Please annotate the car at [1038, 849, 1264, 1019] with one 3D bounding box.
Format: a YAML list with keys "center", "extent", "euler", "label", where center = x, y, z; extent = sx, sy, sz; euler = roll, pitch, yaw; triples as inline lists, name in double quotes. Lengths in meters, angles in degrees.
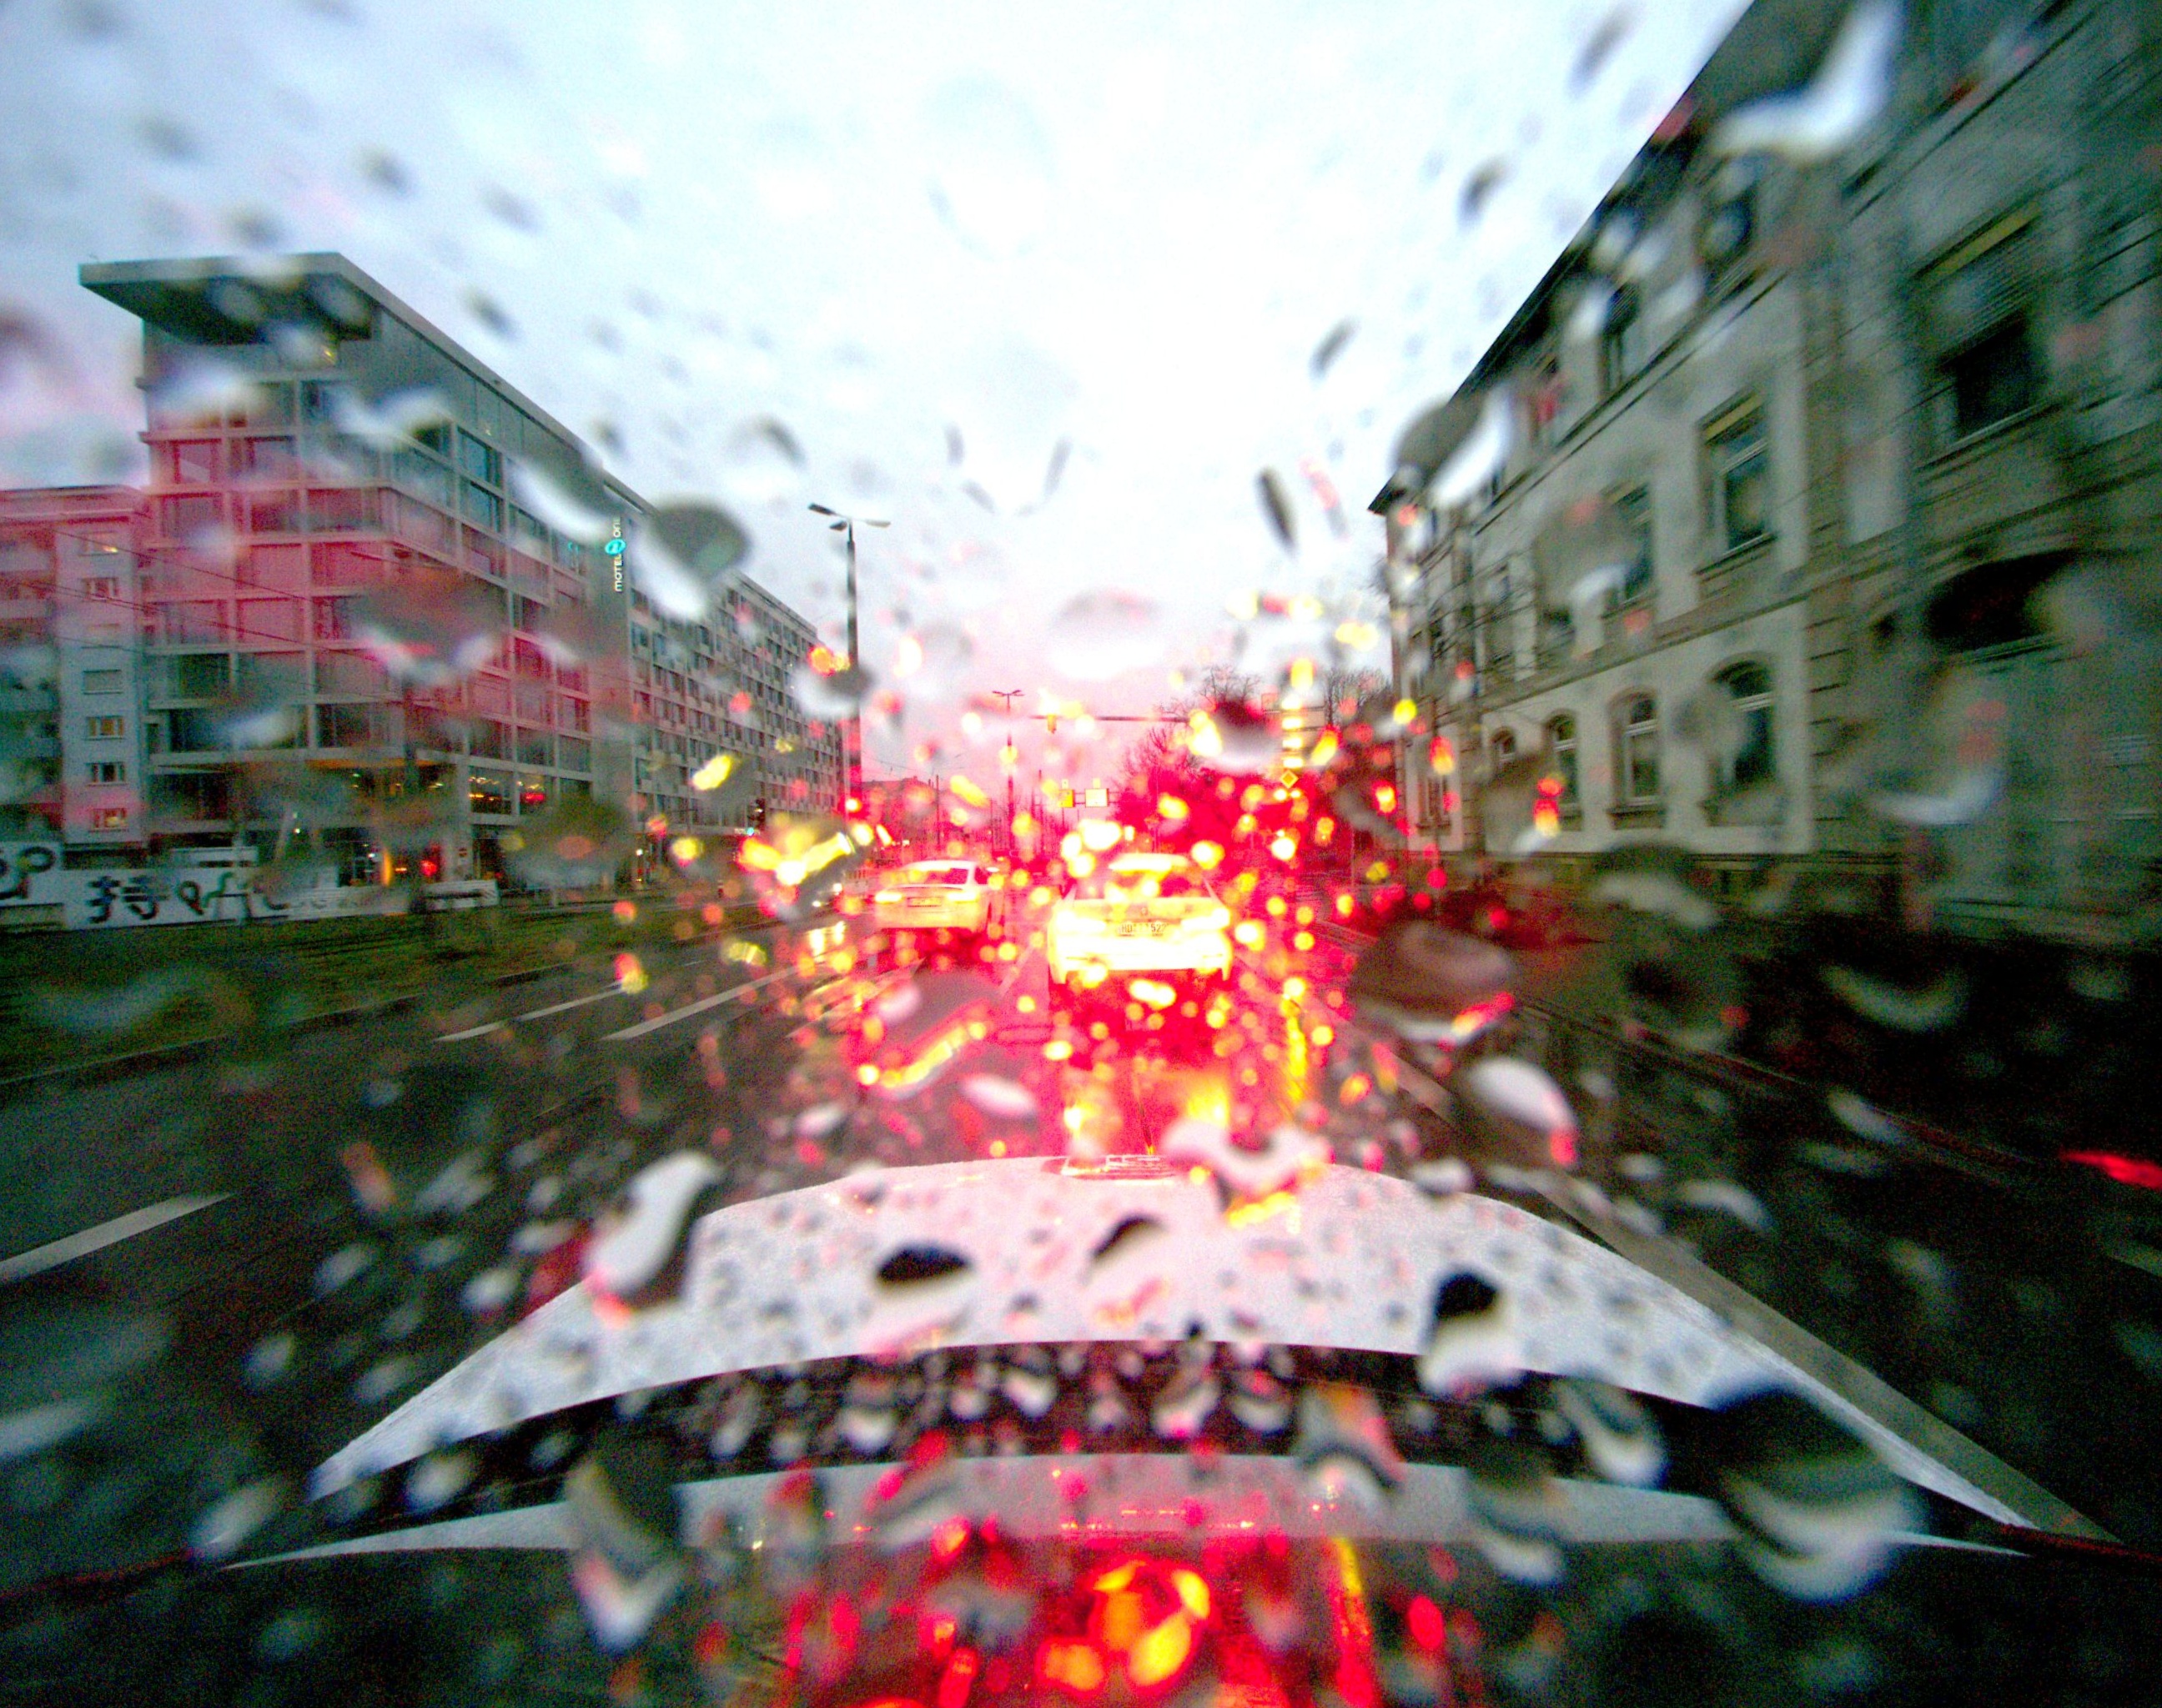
- center: [0.615, 0.700, 9.466]
  extent: [1.987, 1.456, 4.367]
  euler: [-2, 0, -1]
  label: "car"

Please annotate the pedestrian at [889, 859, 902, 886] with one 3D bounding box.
- center: [-11.798, 1.198, 51.919]
  extent: [0.791, 1.711, 0.809]
  euler: [0, -1, -14]
  label: "pedestrian"

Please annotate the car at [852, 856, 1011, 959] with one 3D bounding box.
- center: [-2.434, 0.812, 14.427]
  extent: [1.987, 1.456, 4.367]
  euler: [-2, 0, -1]
  label: "car"

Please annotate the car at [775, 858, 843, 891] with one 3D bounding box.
- center: [-15.306, 1.144, 45.695]
  extent: [1.912, 1.720, 4.654]
  euler: [0, -1, -42]
  label: "car"

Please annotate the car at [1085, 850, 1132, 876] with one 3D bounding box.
- center: [1.727, 0.556, 52.802]
  extent: [1.848, 1.609, 3.921]
  euler: [0, -1, -18]
  label: "car"

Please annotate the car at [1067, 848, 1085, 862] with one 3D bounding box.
- center: [-0.606, 0.091, 94.001]
  extent: [1.987, 1.456, 4.367]
  euler: [-2, 0, -1]
  label: "car"

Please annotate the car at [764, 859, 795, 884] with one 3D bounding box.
- center: [-19.941, 1.123, 53.778]
  extent: [1.764, 1.530, 4.295]
  euler: [0, -1, -22]
  label: "car"

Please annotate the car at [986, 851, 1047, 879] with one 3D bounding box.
- center: [-3.906, 0.657, 50.008]
  extent: [1.825, 1.609, 3.969]
  euler: [-1, -1, 28]
  label: "car"

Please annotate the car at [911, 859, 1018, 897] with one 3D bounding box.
- center: [-5.542, 1.148, 38.910]
  extent: [4.659, 1.720, 1.877]
  euler: [-1, -1, 17]
  label: "car"
